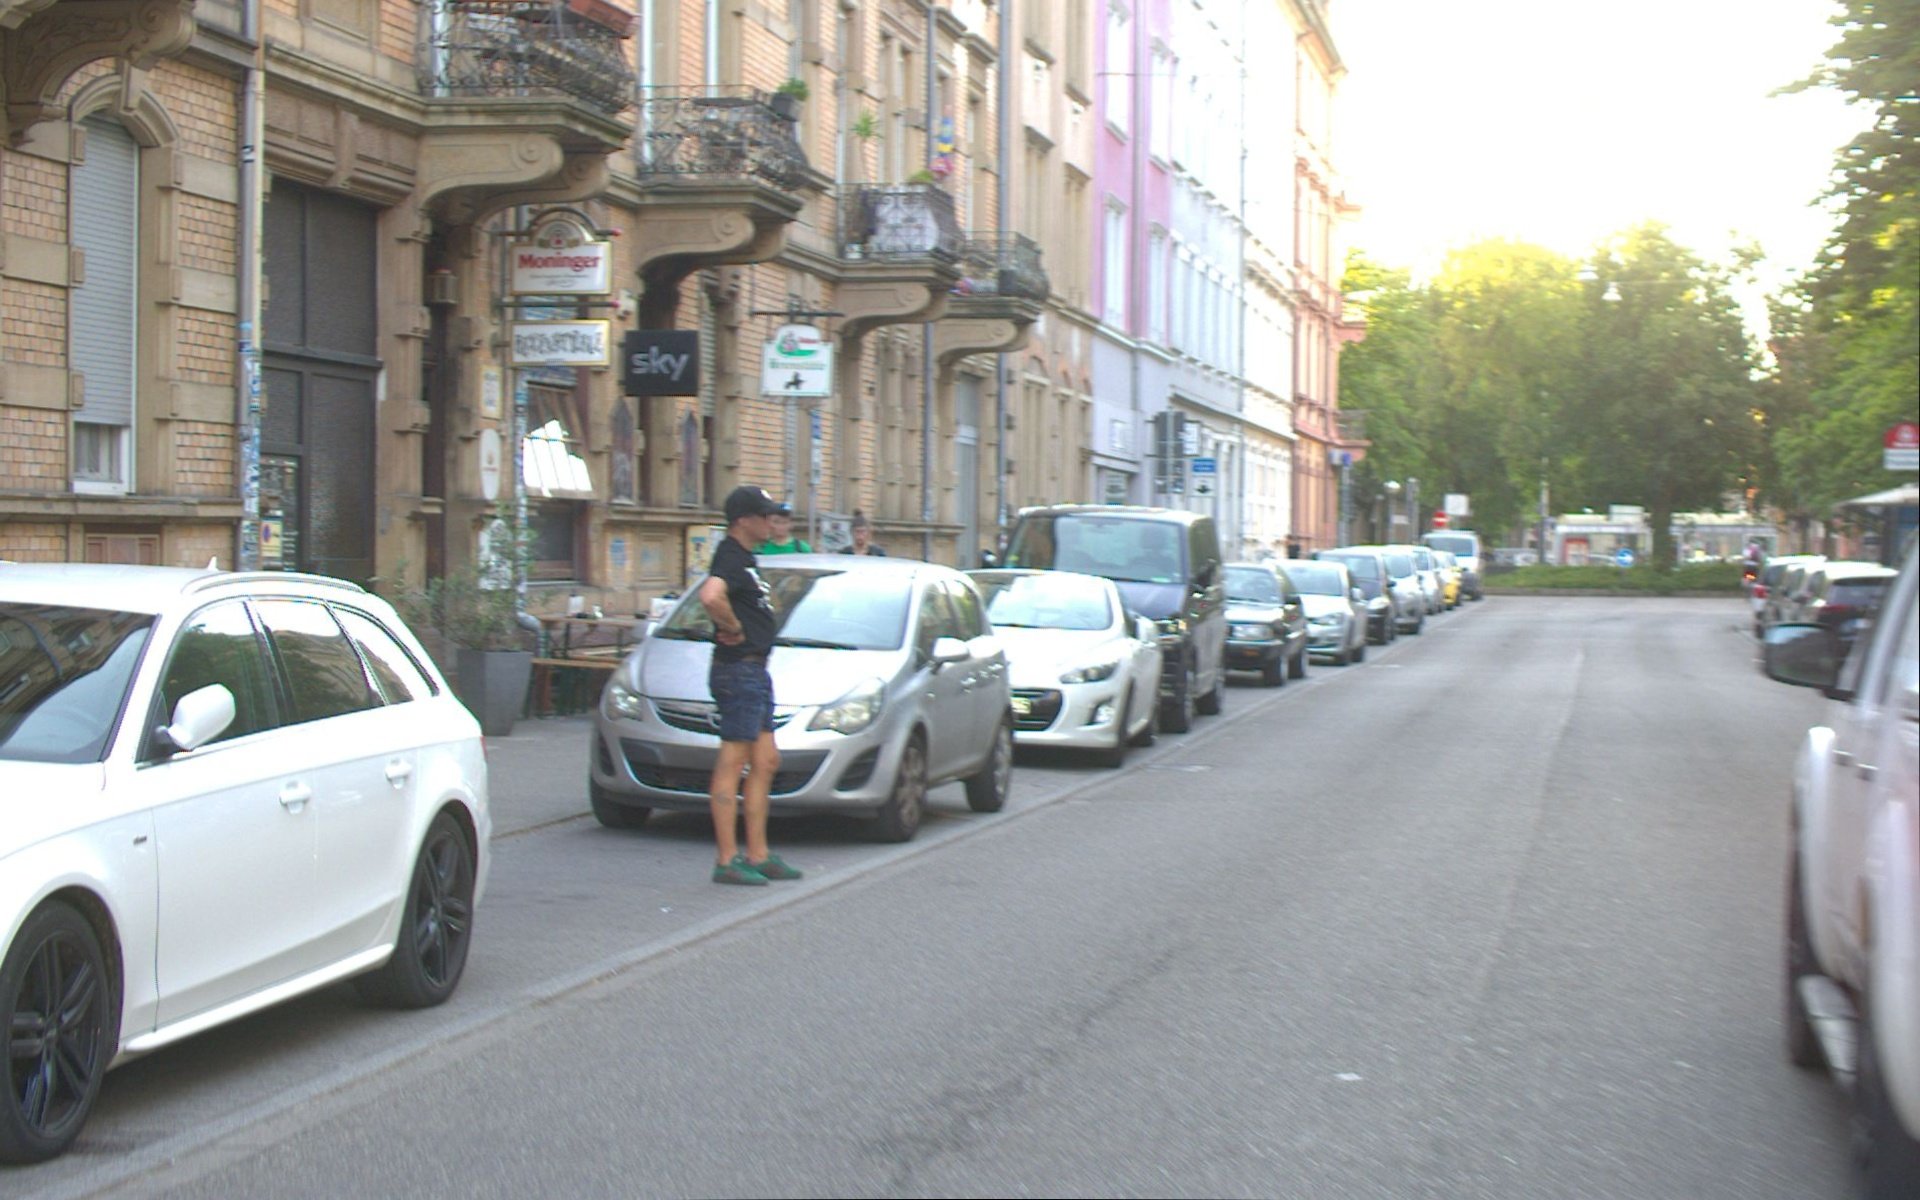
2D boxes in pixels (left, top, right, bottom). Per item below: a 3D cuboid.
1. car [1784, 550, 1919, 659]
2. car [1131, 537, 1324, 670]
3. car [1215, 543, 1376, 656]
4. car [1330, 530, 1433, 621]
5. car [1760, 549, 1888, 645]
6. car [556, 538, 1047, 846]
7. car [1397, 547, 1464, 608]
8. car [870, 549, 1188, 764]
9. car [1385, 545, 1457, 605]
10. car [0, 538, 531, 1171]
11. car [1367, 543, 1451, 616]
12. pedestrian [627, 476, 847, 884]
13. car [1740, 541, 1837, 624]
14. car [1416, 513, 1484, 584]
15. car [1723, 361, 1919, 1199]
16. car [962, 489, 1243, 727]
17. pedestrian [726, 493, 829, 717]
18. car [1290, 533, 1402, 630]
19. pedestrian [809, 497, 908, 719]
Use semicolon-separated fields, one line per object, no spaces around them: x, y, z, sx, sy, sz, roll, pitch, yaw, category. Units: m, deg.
12.965;0.039;50.007;1.677;1.424;4.476;-3;0;12;car
3.231;0.027;40.750;1.737;1.413;4.776;3;1;10;car
4.895;-0.038;49.692;1.835;1.453;4.204;4;1;11;car
8.010;-0.480;65.081;1.845;1.653;4.251;1;1;8;car
14.123;-0.075;56.340;1.677;1.451;4.228;-2;0;10;car
-0.757;0.416;19.136;1.718;1.452;3.998;3;2;12;car
12.750;-0.636;92.976;1.699;1.547;4.021;3;1;8;car
0.628;0.360;26.447;1.784;1.418;4.484;3;1;9;car
11.703;-0.640;87.140;1.699;1.421;4.021;3;1;8;car
-2.778;0.563;9.760;1.759;1.407;4.506;2;2;11;car
10.640;-0.501;81.348;1.699;1.615;4.020;3;1;10;car
-0.985;0.345;15.383;0.554;1.749;1.021;1;0;22;pedestrian
15.968;-0.359;66.364;1.677;1.496;3.899;-2;0;12;car
14.368;-1.525;100.956;1.811;1.970;4.185;2;1;7;car
2.972;0.506;8.264;1.911;1.847;5.268;1;1;9;car
1.402;0.019;31.590;1.994;1.917;4.950;3;1;8;car
-1.484;0.025;28.061;0.580;1.765;0.997;4;2;7;pedestrian
6.672;-0.339;59.215;1.637;1.560;3.780;2;1;10;car
-0.835;0.052;28.351;0.605;1.766;0.777;4;2;7;pedestrian
